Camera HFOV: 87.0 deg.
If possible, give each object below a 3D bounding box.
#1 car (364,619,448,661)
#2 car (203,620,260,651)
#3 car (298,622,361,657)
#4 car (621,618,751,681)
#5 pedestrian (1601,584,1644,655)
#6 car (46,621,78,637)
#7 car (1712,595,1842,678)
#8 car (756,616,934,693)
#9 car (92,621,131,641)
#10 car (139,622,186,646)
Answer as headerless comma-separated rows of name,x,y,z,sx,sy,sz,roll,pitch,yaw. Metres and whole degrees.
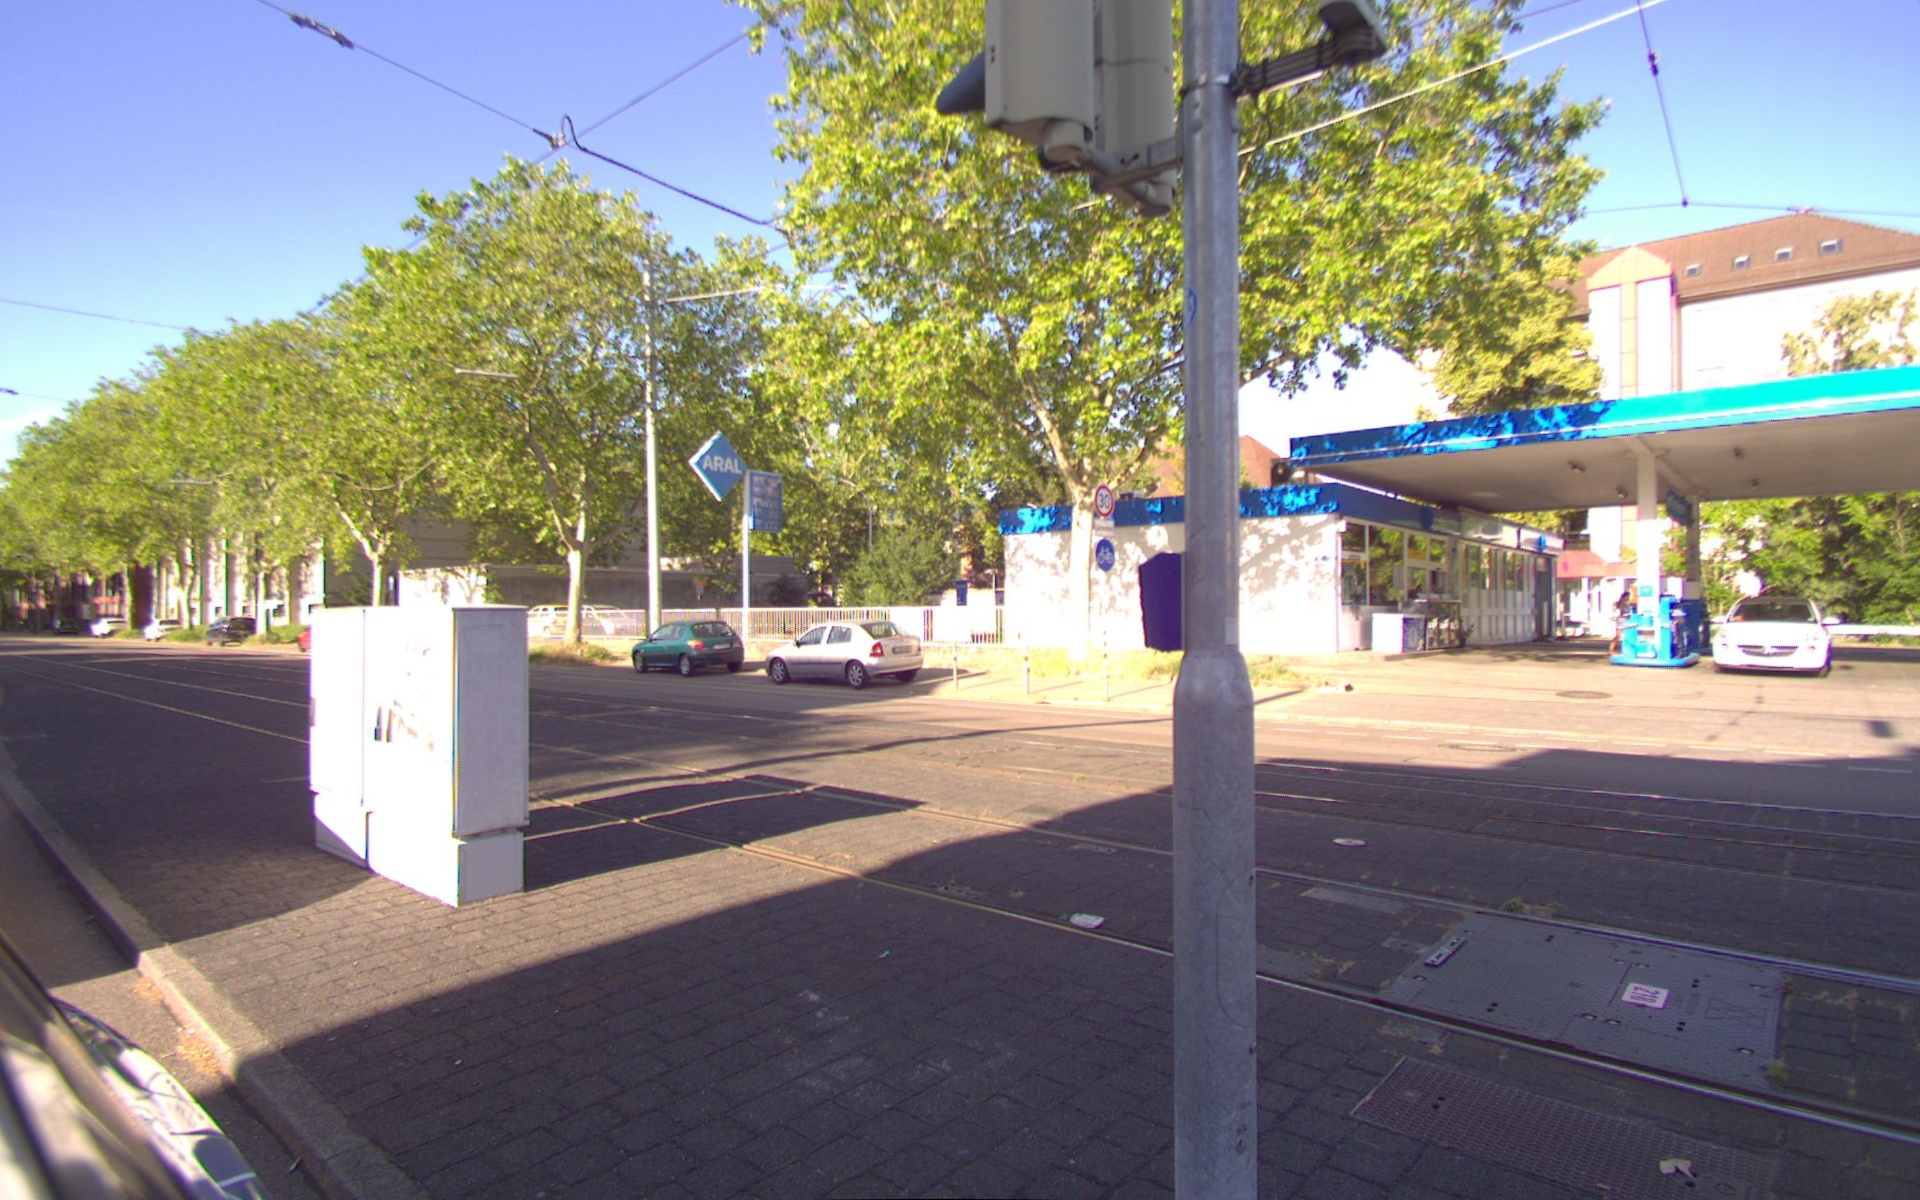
car,-21.943,1.551,40.054,3.652,1.541,1.802,-1,-1,41
car,-40.756,1.954,56.592,3.998,1.674,1.779,-1,-1,41
car,-28.557,1.752,45.801,3.045,1.519,1.620,-1,-1,41
car,-7.330,1.277,26.934,3.519,1.475,1.670,-1,2,43
pedestrian,16.224,0.466,24.781,0.761,1.705,0.578,-2,-2,44
car,-85.326,2.733,96.119,3.998,1.525,1.779,-1,-1,41
car,16.026,0.675,19.910,1.812,1.453,3.947,-1,-1,39
car,-2.631,1.159,22.664,3.965,1.475,1.771,-1,2,43
car,-66.686,2.403,79.531,3.998,1.525,1.779,-1,-1,41
car,-53.722,2.267,68.165,3.998,1.509,1.779,-1,-1,41
